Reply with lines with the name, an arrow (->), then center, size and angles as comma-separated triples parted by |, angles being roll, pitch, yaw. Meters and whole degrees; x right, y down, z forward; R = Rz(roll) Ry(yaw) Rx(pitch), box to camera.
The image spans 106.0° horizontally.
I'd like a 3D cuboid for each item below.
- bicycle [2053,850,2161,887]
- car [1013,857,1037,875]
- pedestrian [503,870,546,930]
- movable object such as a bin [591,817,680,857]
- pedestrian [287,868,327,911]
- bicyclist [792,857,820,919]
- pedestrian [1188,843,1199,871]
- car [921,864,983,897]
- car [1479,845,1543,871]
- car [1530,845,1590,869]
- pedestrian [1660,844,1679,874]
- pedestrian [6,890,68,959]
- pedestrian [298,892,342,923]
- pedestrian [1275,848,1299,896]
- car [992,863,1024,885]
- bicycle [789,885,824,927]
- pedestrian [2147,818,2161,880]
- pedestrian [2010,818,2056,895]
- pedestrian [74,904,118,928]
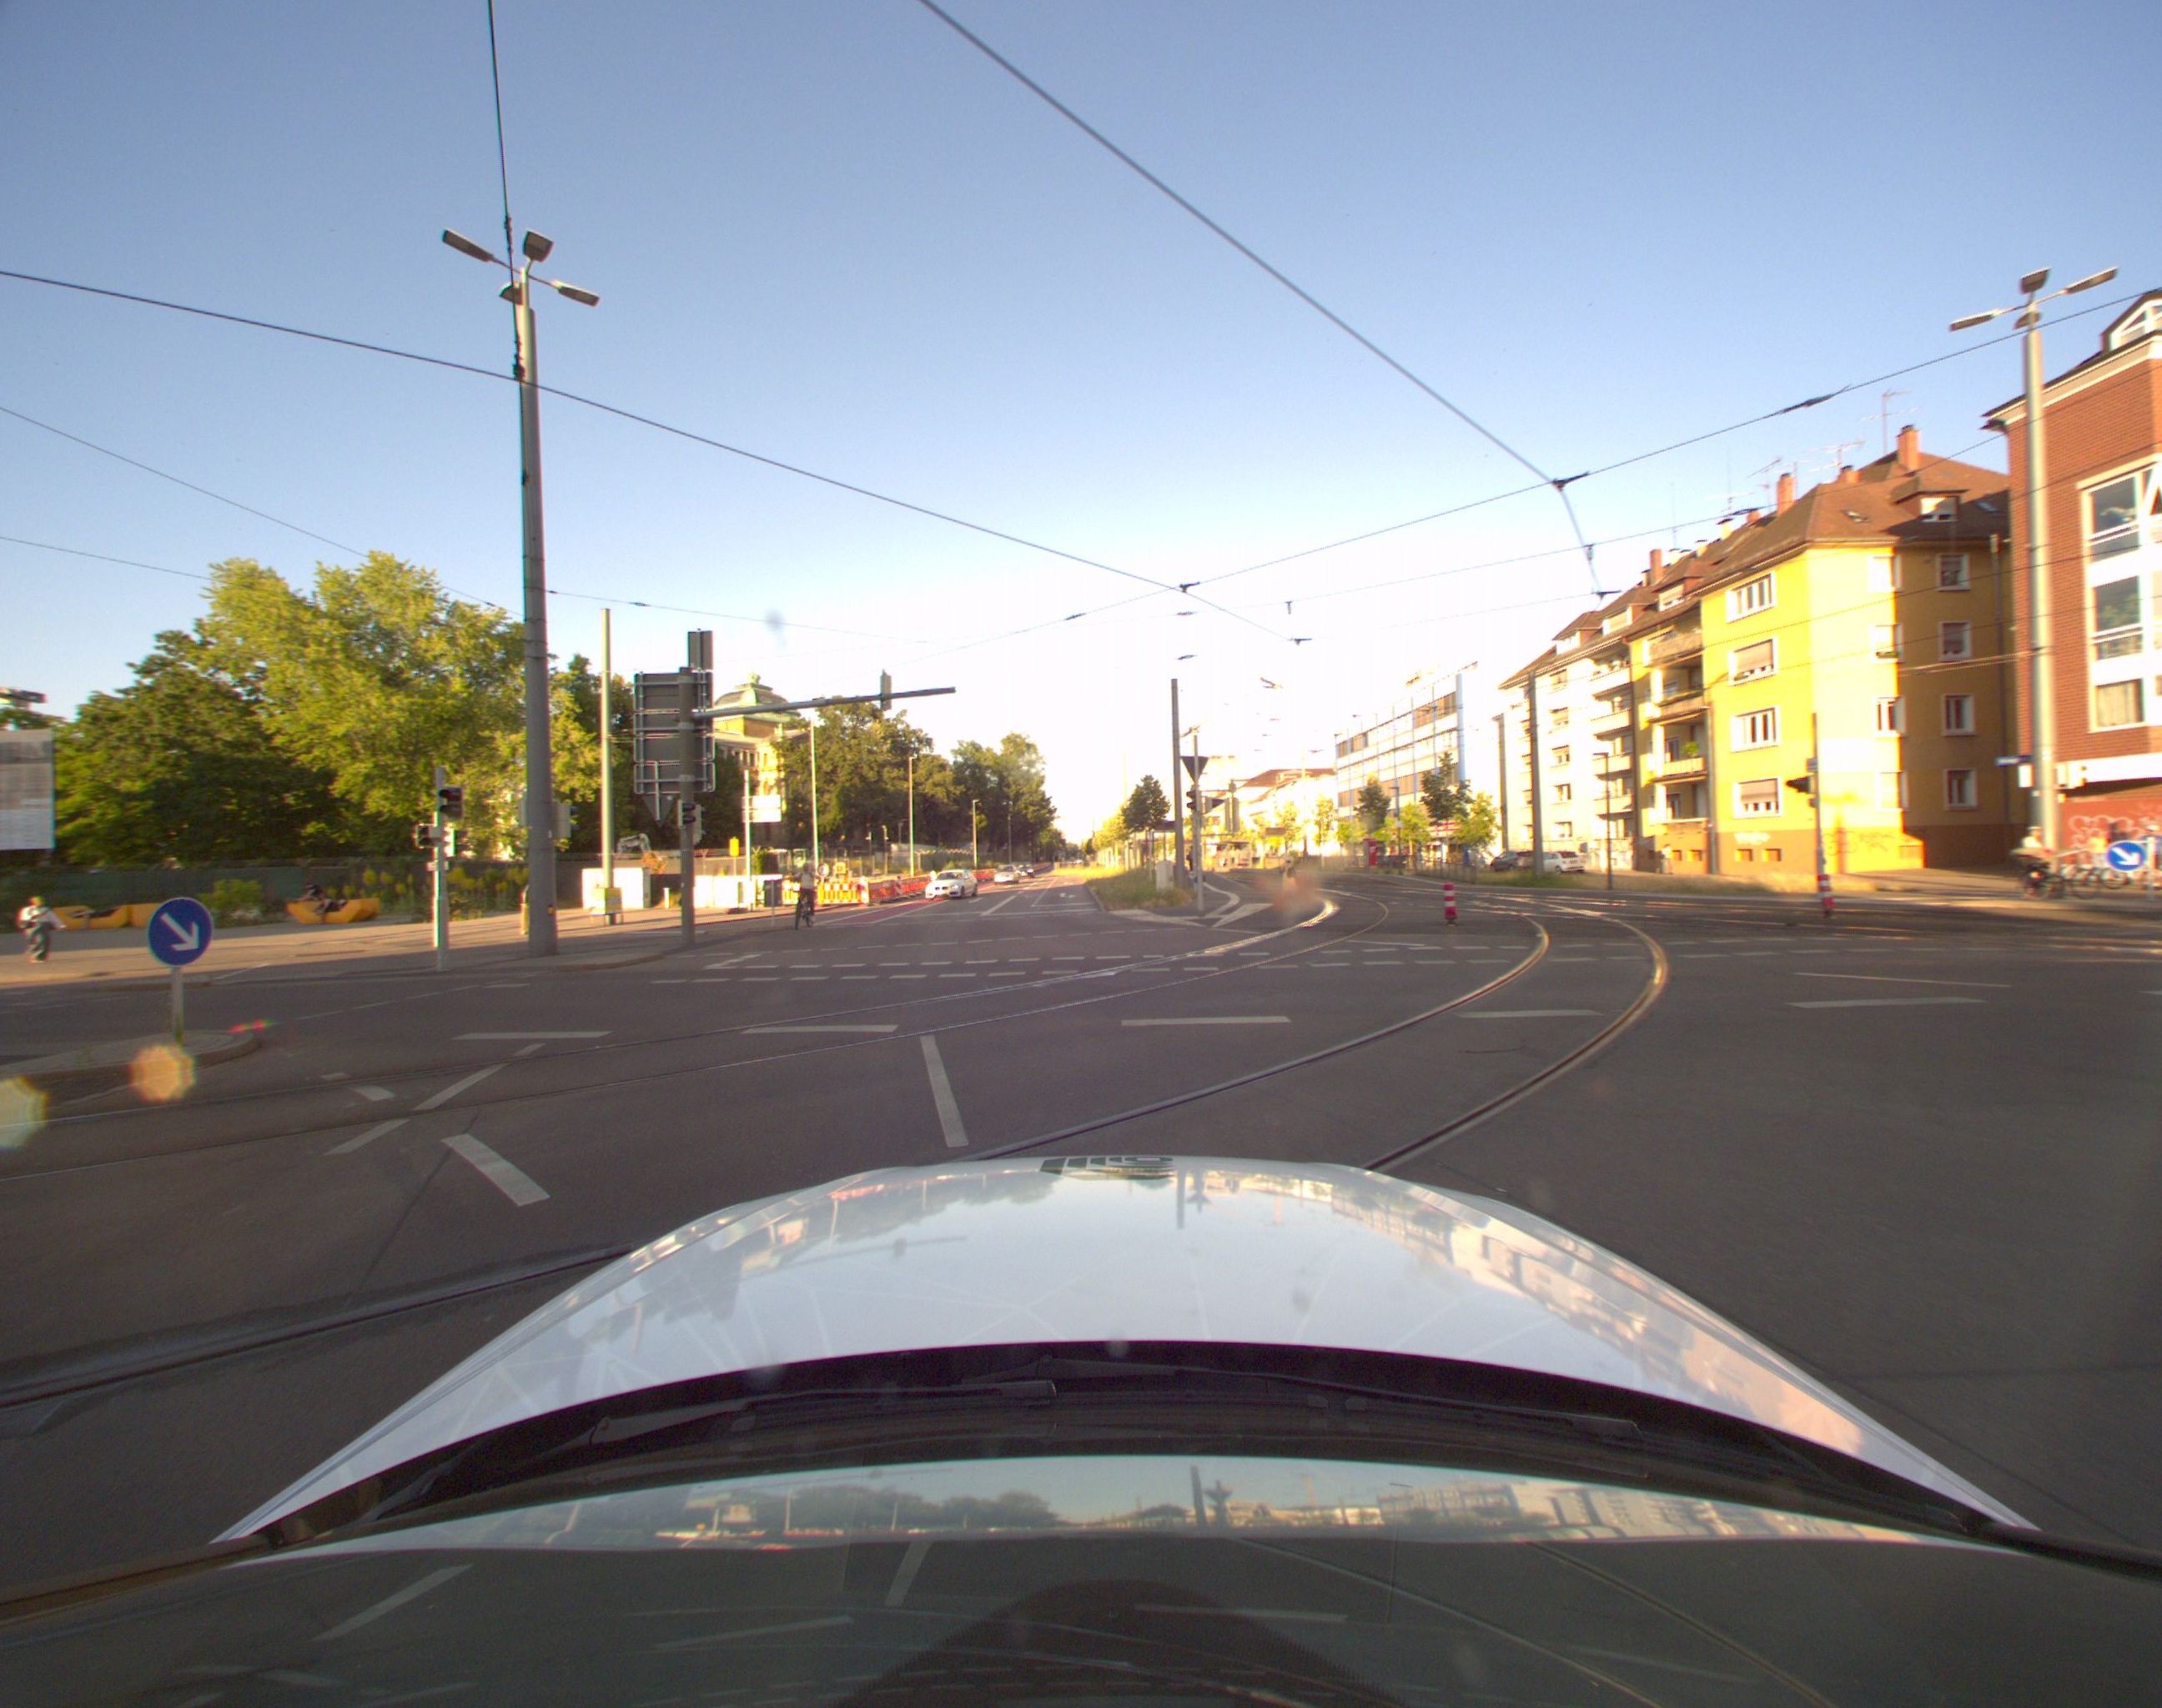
bicycle -> 30.451, 0.407, 23.526 | 0.927, 1.017, 3.057 | -2, 0, -6
car -> -5.612, 1.212, 81.976 | 1.930, 1.617, 4.395 | -2, 0, 3
pedestrian -> -16.813, 1.363, 24.609 | 0.949, 1.735, 0.812 | -2, 0, -42
movable object such as a bin -> -24.870, -0.917, 45.402 | 4.960, 2.013, 2.013 | -2, 0, 30
pedestrian -> -31.397, 1.420, 33.029 | 0.758, 1.665, 0.824 | -2, 0, 6
bicyclist -> -7.624, 0.935, 22.600 | 0.594, 1.671, 0.745 | -2, 0, -10
pedestrian -> 6.549, 0.174, 47.411 | 0.561, 1.591, 0.691 | -2, -1, 3
car -> -6.371, 1.293, 40.636 | 1.901, 1.405, 4.312 | -3, 0, 6
car -> 30.570, 0.283, 58.054 | 2.107, 1.705, 4.346 | -2, 0, -2
car -> 31.130, 0.199, 53.026 | 1.729, 1.420, 3.540 | -2, 0, -2
pedestrian -> 31.979, 0.275, 44.237 | 0.702, 1.598, 0.739 | -2, 0, 28
pedestrian -> -25.478, 1.717, 19.888 | 0.591, 1.613, 0.691 | -2, 0, 8
pedestrian -> -30.332, 2.109, 32.473 | 0.729, 1.157, 0.992 | -2, 0, 5
pedestrian -> 6.700, 0.574, 26.463 | 0.699, 1.541, 0.639 | -2, 0, 16
car -> -5.585, 1.533, 62.628 | 1.667, 1.561, 3.732 | -4, -1, 5
bicycle -> -7.609, 1.412, 22.634 | 0.594, 1.023, 1.841 | -2, 0, -10
pedestrian -> 31.400, -0.163, 23.224 | 0.914, 1.778, 0.870 | -2, 0, -10
pedestrian -> 21.835, 0.056, 18.682 | 0.416, 1.708, 0.515 | -2, 0, 0
pedestrian -> -40.053, 2.502, 33.117 | 0.980, 0.893, 0.559 | -2, 0, -16
